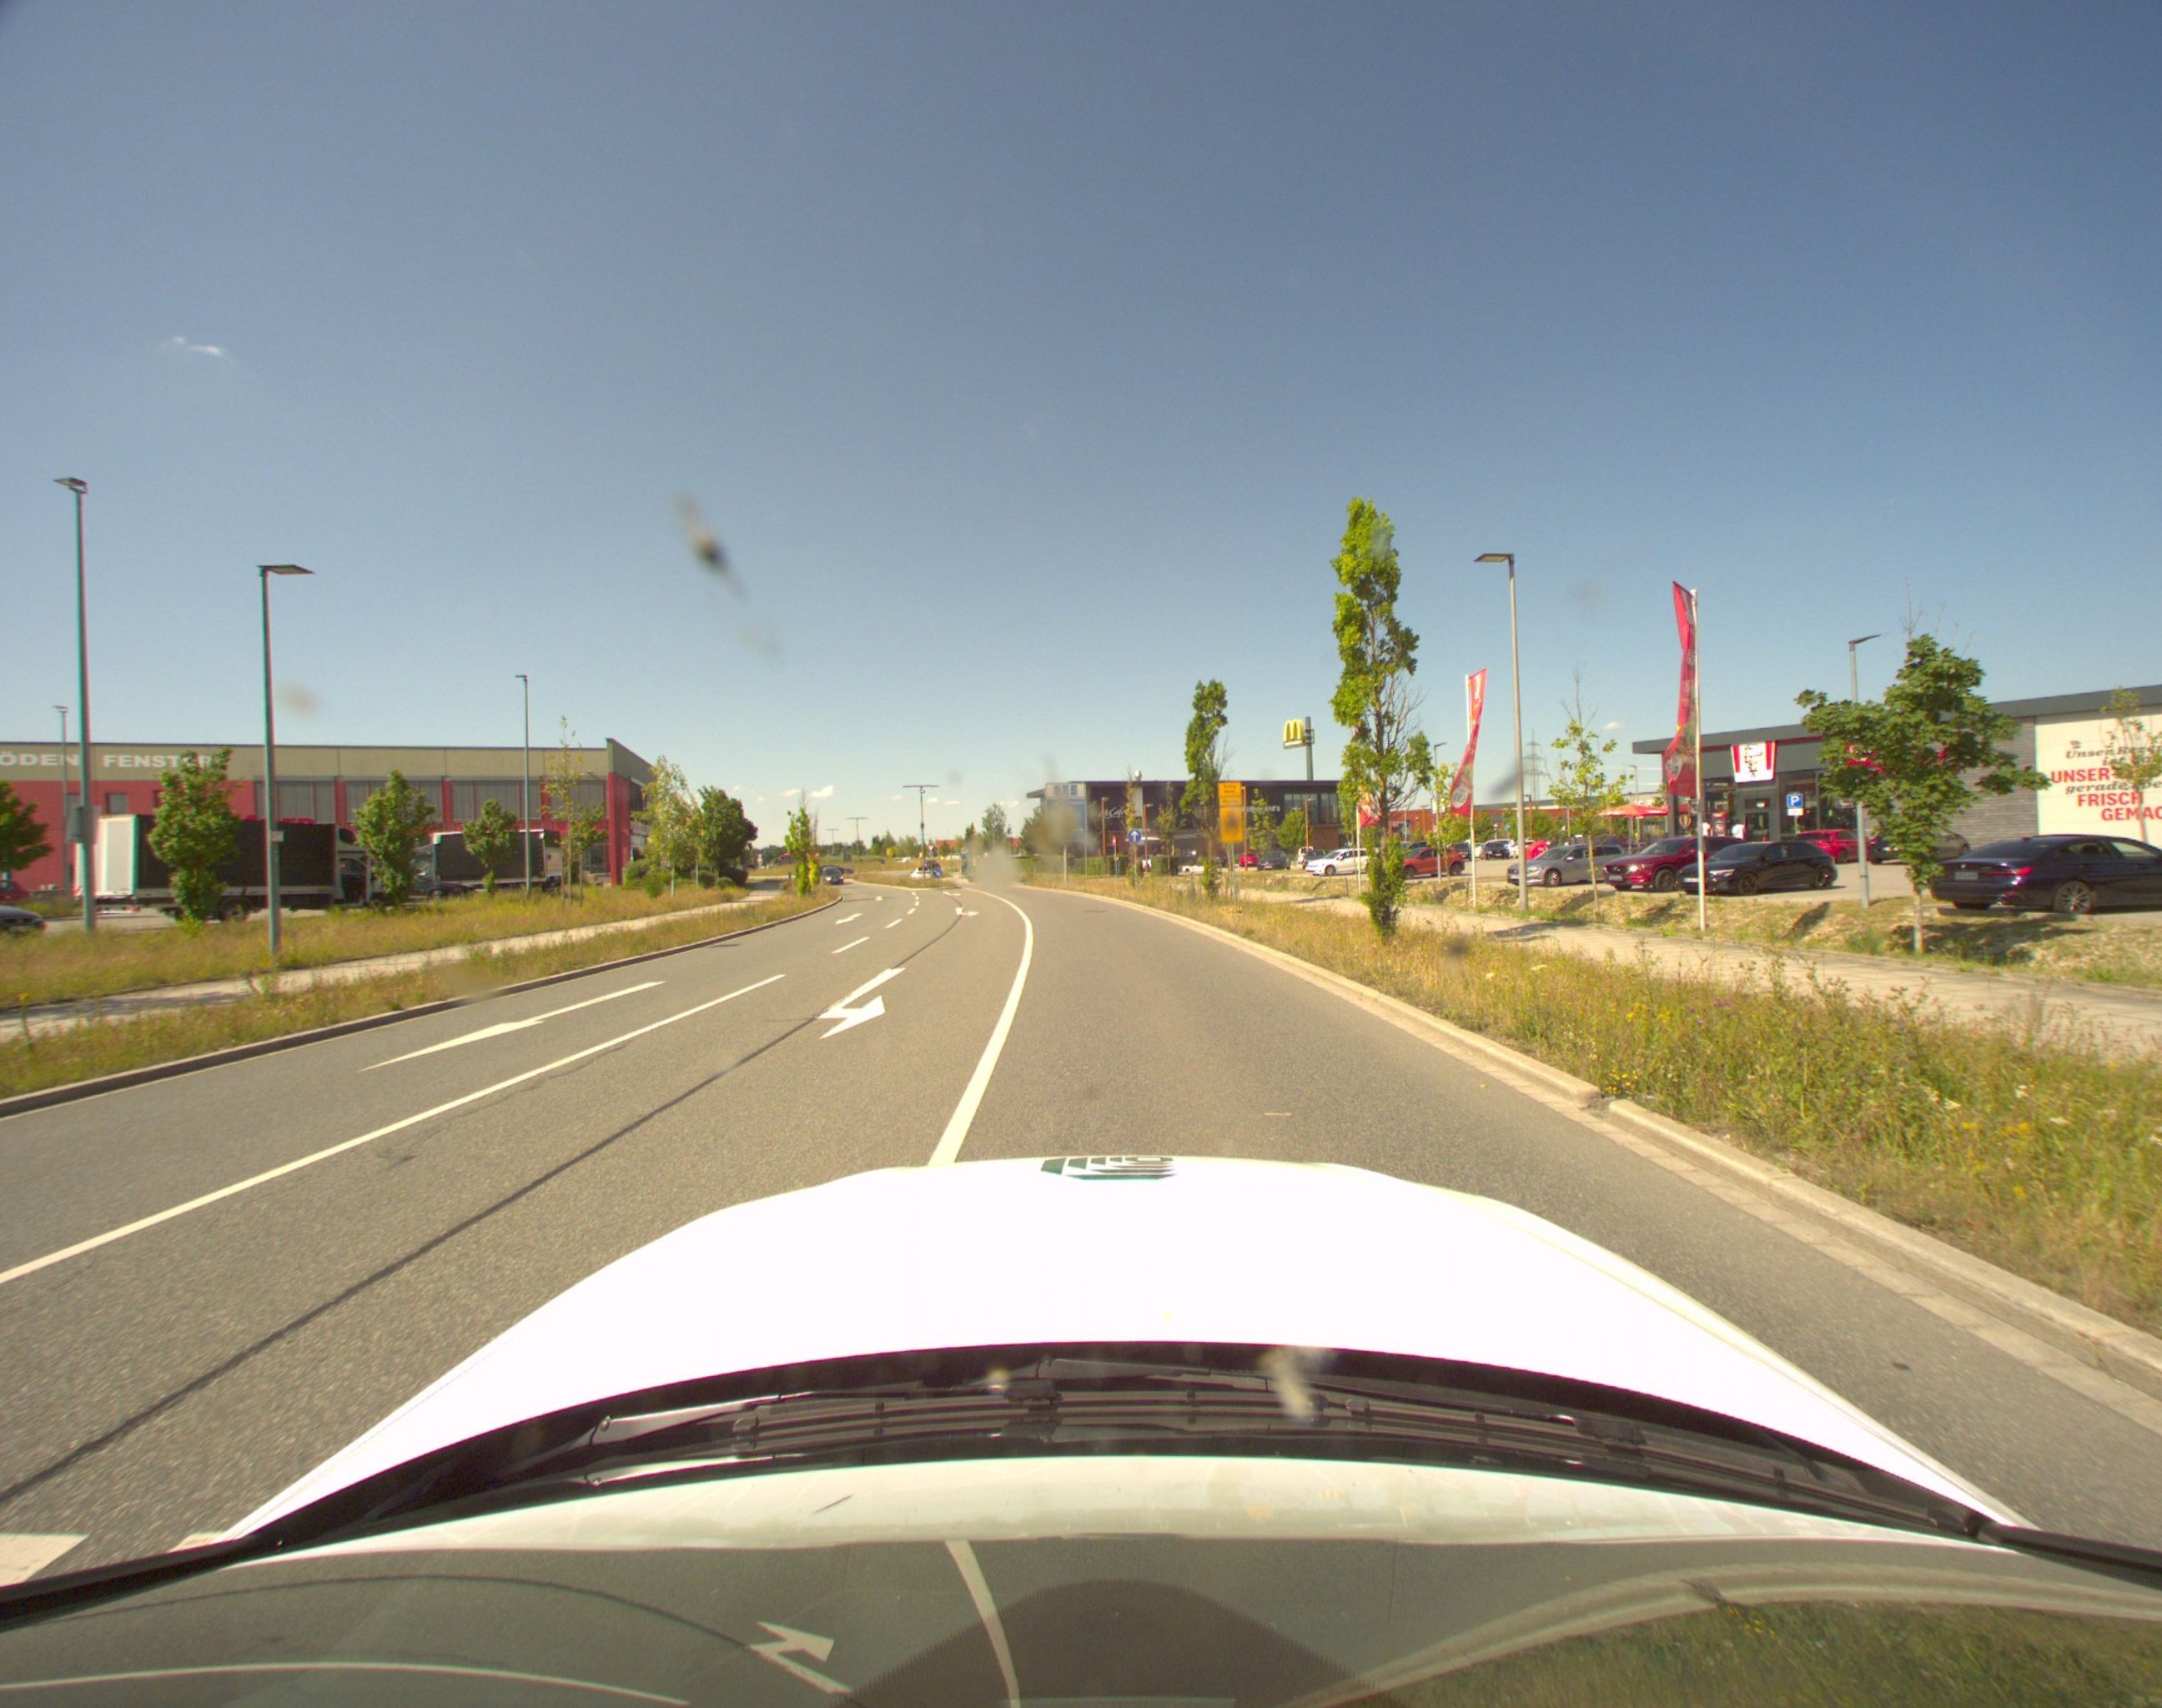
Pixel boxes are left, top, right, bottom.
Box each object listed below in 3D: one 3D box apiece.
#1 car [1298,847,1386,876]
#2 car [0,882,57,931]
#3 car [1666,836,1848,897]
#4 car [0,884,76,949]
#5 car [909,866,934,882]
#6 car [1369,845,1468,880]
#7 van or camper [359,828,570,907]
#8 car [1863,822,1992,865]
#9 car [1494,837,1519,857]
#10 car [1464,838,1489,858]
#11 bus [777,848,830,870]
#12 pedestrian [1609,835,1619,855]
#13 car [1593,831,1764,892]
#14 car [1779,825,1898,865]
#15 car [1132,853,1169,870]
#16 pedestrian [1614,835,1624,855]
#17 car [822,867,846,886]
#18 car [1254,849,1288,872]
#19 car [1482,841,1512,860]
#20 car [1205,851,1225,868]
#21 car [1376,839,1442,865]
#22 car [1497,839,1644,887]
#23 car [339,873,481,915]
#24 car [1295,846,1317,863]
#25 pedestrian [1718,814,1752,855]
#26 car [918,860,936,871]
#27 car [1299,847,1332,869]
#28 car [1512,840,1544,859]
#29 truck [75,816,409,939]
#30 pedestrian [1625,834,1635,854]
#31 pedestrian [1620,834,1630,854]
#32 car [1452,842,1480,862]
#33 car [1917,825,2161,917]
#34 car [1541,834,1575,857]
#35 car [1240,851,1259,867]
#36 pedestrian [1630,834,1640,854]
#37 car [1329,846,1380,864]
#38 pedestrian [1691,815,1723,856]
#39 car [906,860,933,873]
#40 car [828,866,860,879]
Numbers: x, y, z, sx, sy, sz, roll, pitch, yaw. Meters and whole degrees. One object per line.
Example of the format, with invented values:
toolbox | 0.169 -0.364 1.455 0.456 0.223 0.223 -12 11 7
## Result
car | 15.193 0.421 47.427 4.531 1.490 1.860 -3 0 -14
car | -40.342 1.961 29.642 1.839 1.773 4.350 -2 0 -21
car | 19.138 0.319 23.106 4.157 1.449 1.784 -3 0 -12
car | -25.969 1.478 18.128 4.416 1.383 1.972 -2 0 -5
car | -15.091 1.882 76.939 1.622 1.434 3.765 -2 0 -21
car | 16.562 0.386 40.023 4.210 1.490 1.860 -3 0 -14
van or camper | -29.768 0.617 39.722 7.706 3.468 2.542 -2 -1 -15
car | 33.080 -0.420 31.842 4.572 1.431 1.855 -3 0 -21
car | 40.855 -0.677 78.274 1.770 1.757 4.192 -2 0 23
car | 37.360 -0.593 76.969 1.770 1.757 4.192 -2 0 23
bus | -47.459 0.823 139.973 2.769 3.078 12.242 -2 2 11
pedestrian | 33.501 -0.582 51.170 0.381 1.240 0.290 -2 -1 -22
car | 18.705 0.218 25.589 4.149 1.665 1.865 -3 0 -6
car | 32.118 -0.385 34.524 4.572 1.431 1.855 -3 0 -21
car | 6.374 0.740 75.185 1.799 1.434 3.972 -2 0 -21
pedestrian | 33.625 -0.587 50.893 0.381 1.240 0.290 -2 -1 -22
car | -25.300 2.248 83.186 1.958 1.794 4.395 -3 0 -21
car | 13.502 0.448 57.727 1.682 1.462 4.192 -2 0 23
car | 33.503 -0.280 65.619 1.770 1.451 4.192 -2 0 23
car | 13.475 0.516 81.846 1.781 1.604 4.012 -2 0 10
car | 22.723 -0.114 56.432 4.172 1.635 1.778 -2 0 -22
car | 18.126 0.313 30.228 4.555 1.490 1.862 -3 0 -10
car | -29.175 1.708 35.574 4.377 1.552 1.828 -2 -1 -16
car | 23.591 0.015 85.279 1.777 1.702 4.021 -3 0 21
pedestrian | 32.702 -0.965 40.740 0.915 2.014 0.886 -2 -1 -17
car | -20.363 1.512 107.790 1.610 1.434 3.794 -2 0 2
car | 17.097 0.299 59.200 1.770 1.462 4.192 -2 0 23
car | 36.627 -0.360 66.790 1.770 1.451 4.192 -2 0 23
truck | -27.193 0.692 27.053 2.300 3.464 7.522 -2 0 14
pedestrian | 34.407 -0.608 51.050 0.381 1.240 0.290 -2 -1 -22
pedestrian | 34.300 -0.603 51.325 0.381 1.240 0.290 -2 -1 -22
car | 30.187 -0.198 63.897 1.770 1.451 4.192 -2 0 23
car | 18.954 0.277 15.447 4.393 1.449 1.791 -3 0 -1
car | 39.407 -0.699 67.329 1.770 1.757 4.192 -2 0 23
car | 17.048 0.492 82.646 1.781 1.434 4.012 -2 0 10
pedestrian | 34.529 -0.613 50.758 0.381 1.240 0.290 -2 -1 -22
car | 23.840 0.093 71.072 3.950 1.373 1.809 -3 0 26
pedestrian | 32.216 -0.945 41.899 0.915 2.014 0.886 -2 -1 -17
car | -26.390 2.065 133.112 3.970 2.014 1.836 -2 -1 3
car | -30.005 2.321 103.116 3.794 1.517 1.764 -2 -1 -16
